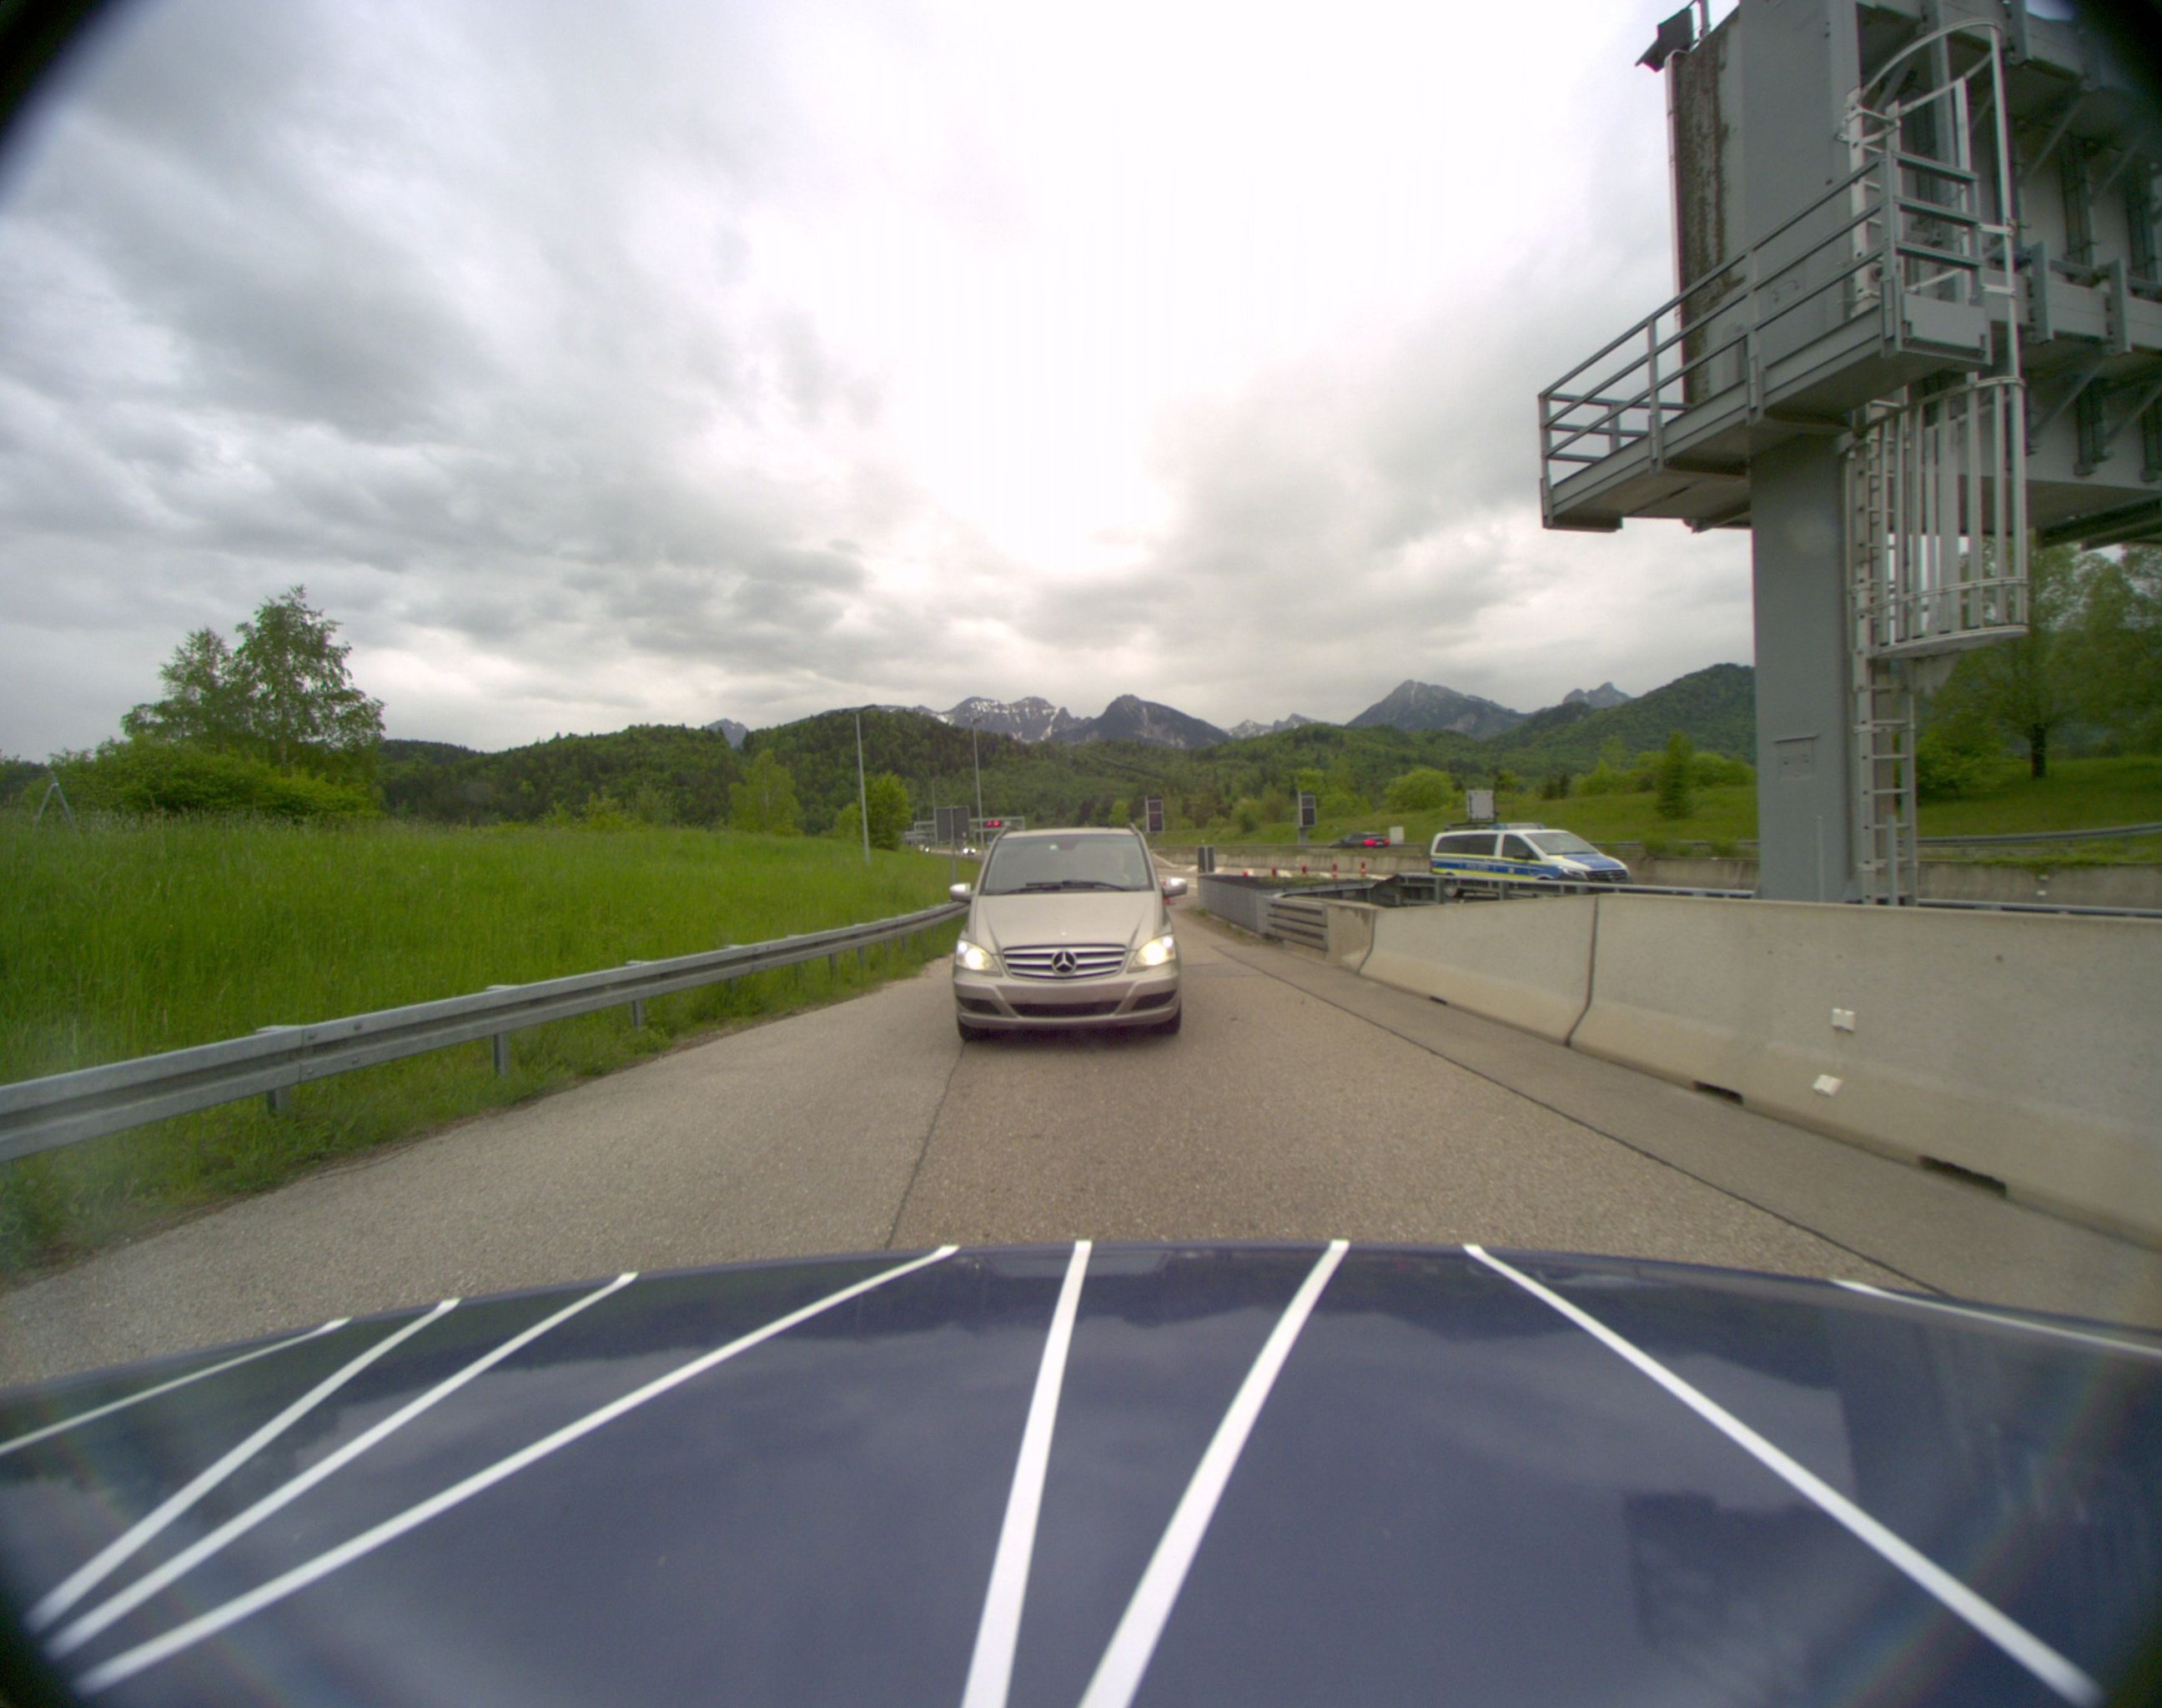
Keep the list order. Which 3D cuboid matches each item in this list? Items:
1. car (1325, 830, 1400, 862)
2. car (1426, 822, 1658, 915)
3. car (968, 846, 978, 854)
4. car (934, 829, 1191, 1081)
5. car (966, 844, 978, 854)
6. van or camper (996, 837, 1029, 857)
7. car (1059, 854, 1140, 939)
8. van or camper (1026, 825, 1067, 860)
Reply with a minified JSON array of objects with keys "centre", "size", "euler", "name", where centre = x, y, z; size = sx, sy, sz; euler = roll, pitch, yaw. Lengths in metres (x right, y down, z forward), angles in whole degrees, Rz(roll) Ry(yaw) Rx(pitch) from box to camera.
[{"centre":[18.397,-0.542,49.952],"size":[1.992,1.944,5.102],"euler":[-1,1,-15],"name":"car"},{"centre":[11.334,0.279,19.225],"size":[2.106,2.002,5.045],"euler":[-2,1,-13],"name":"car"},{"centre":[-21.694,-0.864,152.543],"size":[1.722,1.629,4.342],"euler":[-1,1,-14],"name":"car"},{"centre":[-0.101,0.711,8.413],"size":[1.862,1.833,5.616],"euler":[-1,1,1],"name":"car"},{"centre":[-21.813,-0.974,152.472],"size":[1.869,1.861,3.994],"euler":[-1,1,-15],"name":"car"},{"centre":[-9.726,-1.017,106.768],"size":[3.345,2.629,8.189],"euler":[-1,1,-15],"name":"van or camper"},{"centre":[0.410,0.847,17.224],"size":[1.591,1.662,4.000],"euler":[-1,0,1],"name":"car"},{"centre":[-3.577,-1.159,77.119],"size":[2.585,3.372,7.345],"euler":[-2,1,-14],"name":"van or camper"}]
